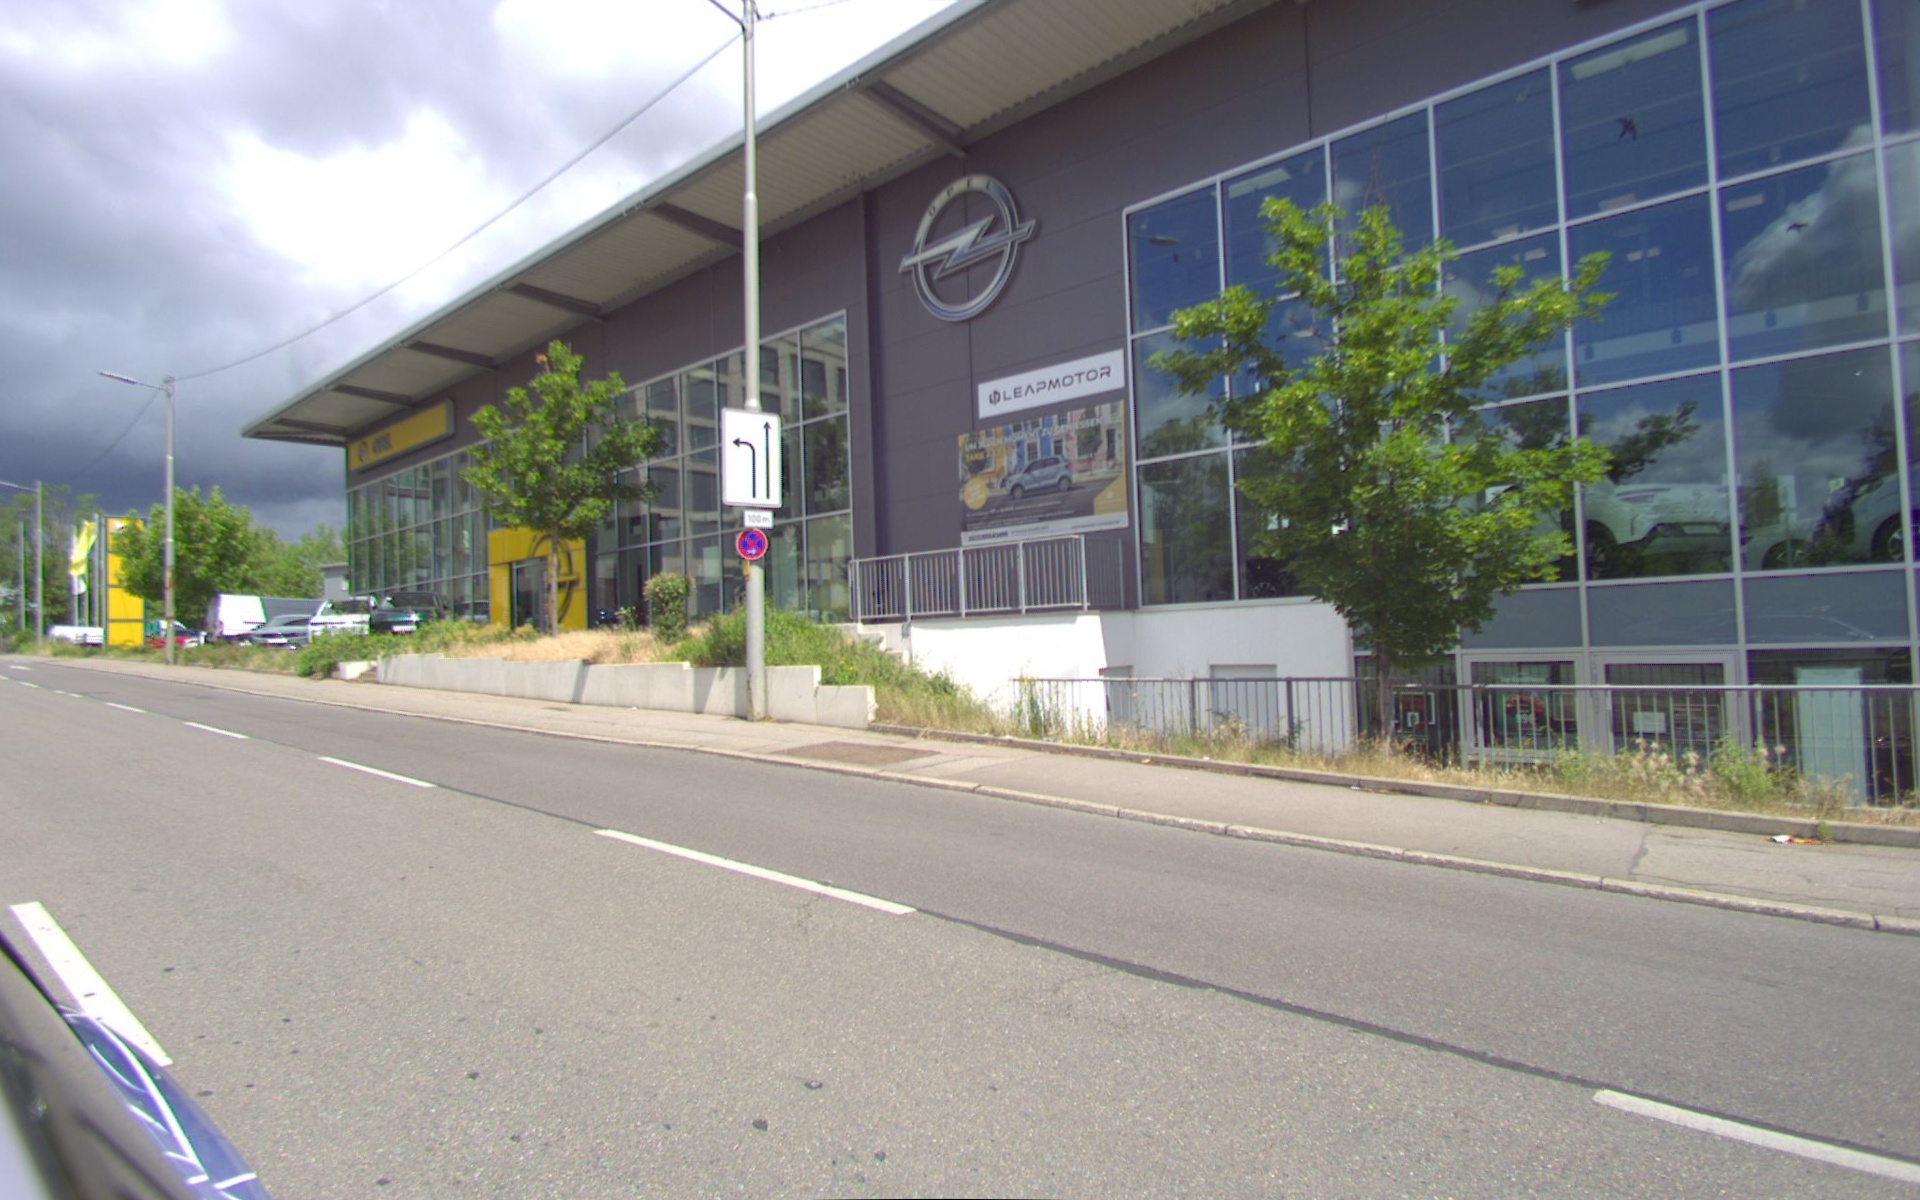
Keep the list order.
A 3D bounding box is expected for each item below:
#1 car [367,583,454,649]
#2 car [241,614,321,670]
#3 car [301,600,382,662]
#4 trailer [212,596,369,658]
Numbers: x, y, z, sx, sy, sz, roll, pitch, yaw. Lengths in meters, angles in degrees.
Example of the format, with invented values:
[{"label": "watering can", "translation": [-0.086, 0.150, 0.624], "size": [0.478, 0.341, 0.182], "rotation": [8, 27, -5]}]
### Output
[{"label": "car", "translation": [-15.695, 0.476, 28.799], "size": [1.966, 1.741, 4.011], "rotation": [1, -2, -31]}, {"label": "car", "translation": [-23.486, 1.413, 35.149], "size": [1.966, 1.807, 4.012], "rotation": [1, -1, -29]}, {"label": "car", "translation": [-19.221, 0.953, 31.587], "size": [1.966, 1.807, 4.012], "rotation": [1, -2, -29]}, {"label": "trailer", "translation": [-27.434, 1.093, 41.601], "size": [1.998, 2.367, 5.011], "rotation": [-1, -2, 39]}]
